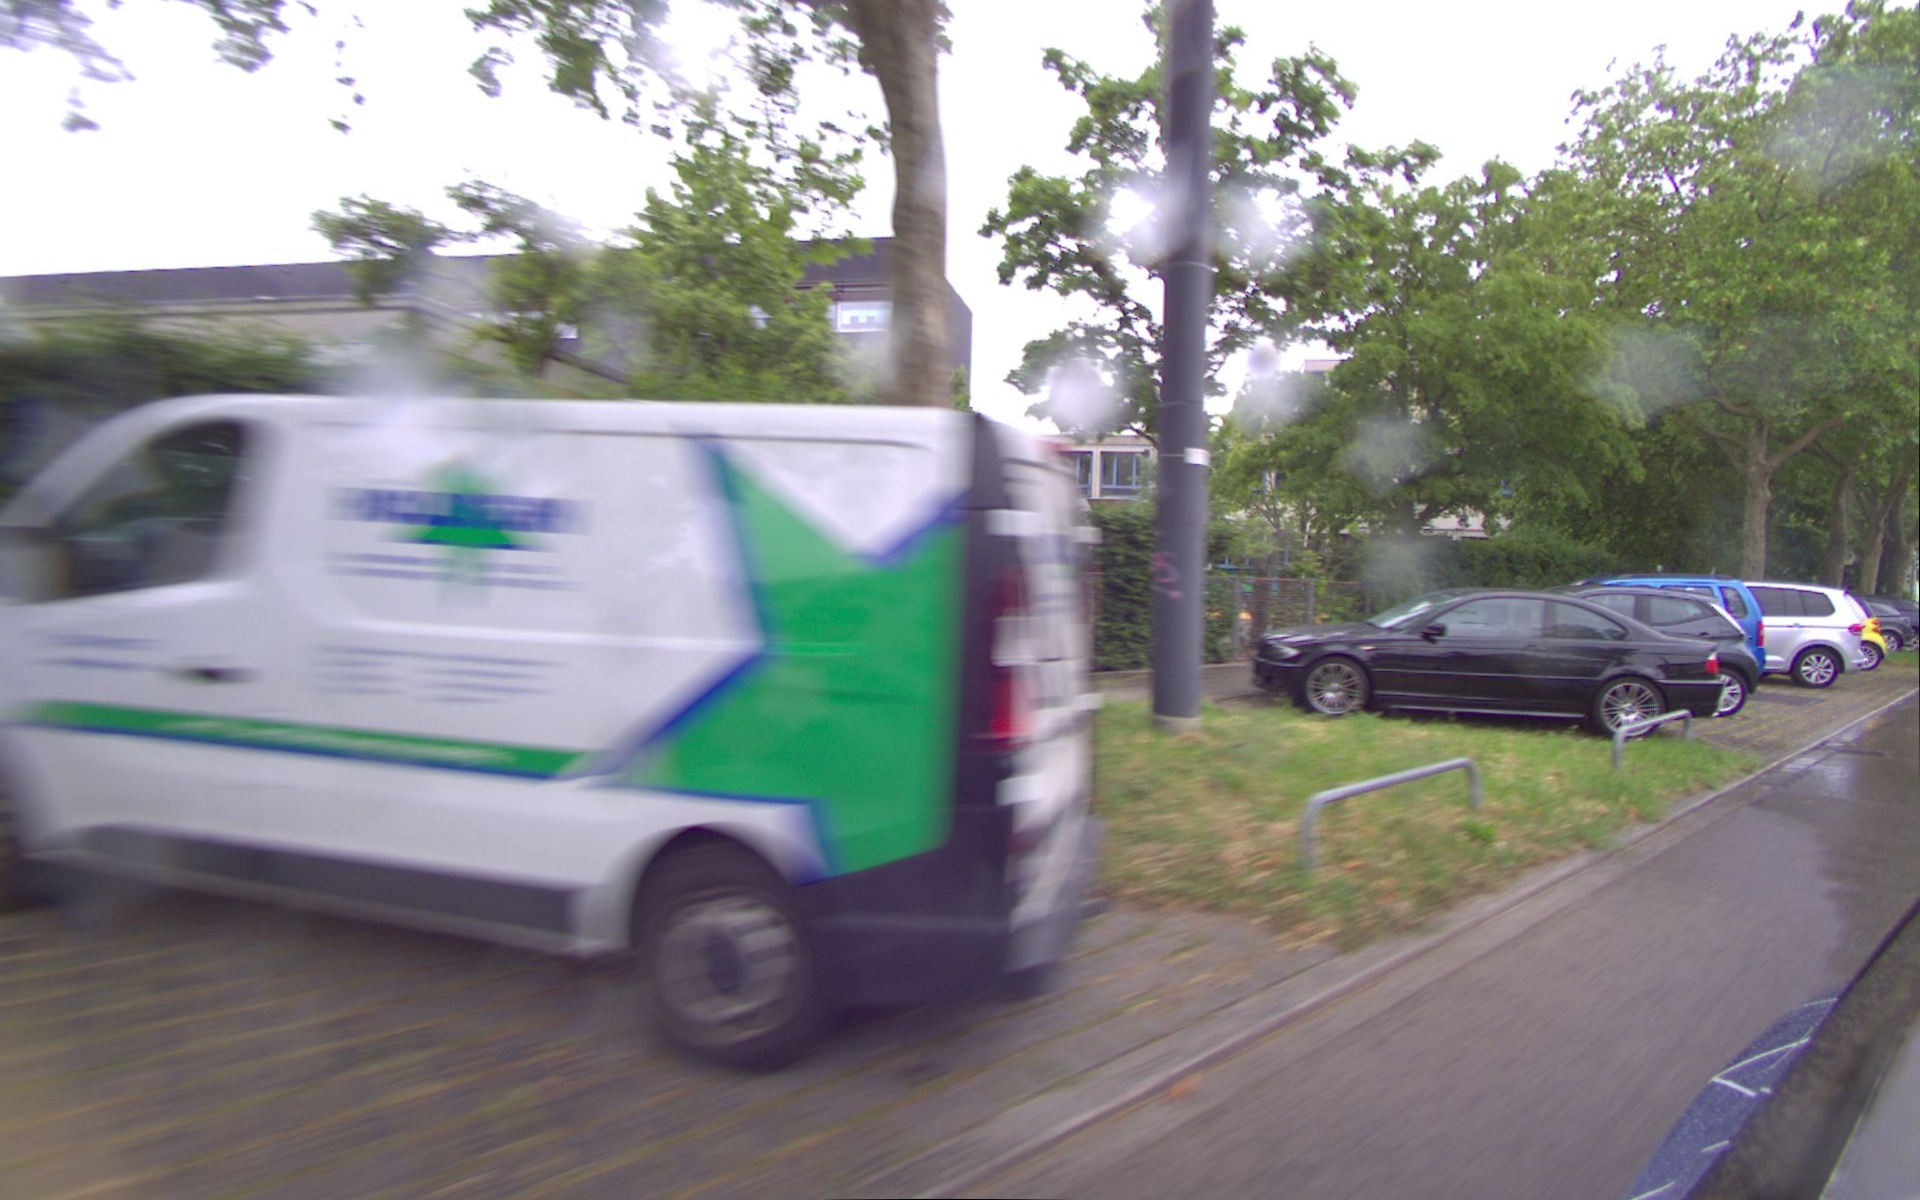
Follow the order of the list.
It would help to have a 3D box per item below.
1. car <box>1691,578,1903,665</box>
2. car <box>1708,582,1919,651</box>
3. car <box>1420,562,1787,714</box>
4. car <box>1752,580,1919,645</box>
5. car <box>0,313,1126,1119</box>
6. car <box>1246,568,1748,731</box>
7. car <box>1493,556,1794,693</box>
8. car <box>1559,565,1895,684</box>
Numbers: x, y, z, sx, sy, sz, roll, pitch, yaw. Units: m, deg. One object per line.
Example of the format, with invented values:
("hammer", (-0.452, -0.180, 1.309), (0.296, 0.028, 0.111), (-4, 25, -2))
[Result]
("car", (17.038, 0.392, 20.757), (2.870, 1.483, 1.594), (4, 3, 20))
("car", (22.214, 0.389, 26.283), (4.002, 1.435, 1.736), (4, 3, 13))
("car", (7.888, 0.383, 12.768), (3.352, 1.536, 1.845), (3, 3, 12))
("car", (24.844, 0.322, 28.276), (3.753, 1.551, 1.874), (4, 2, 17))
("car", (-1.950, 0.118, 4.152), (4.958, 2.038, 1.991), (4, 2, 15))
("car", (5.314, 0.431, 10.589), (4.236, 1.401, 1.736), (2, 1, 10))
("car", (9.946, 0.284, 15.004), (3.229, 1.691, 1.586), (4, 3, 15))
("car", (12.439, 0.336, 16.679), (3.985, 1.661, 1.649), (3, 3, 12))
